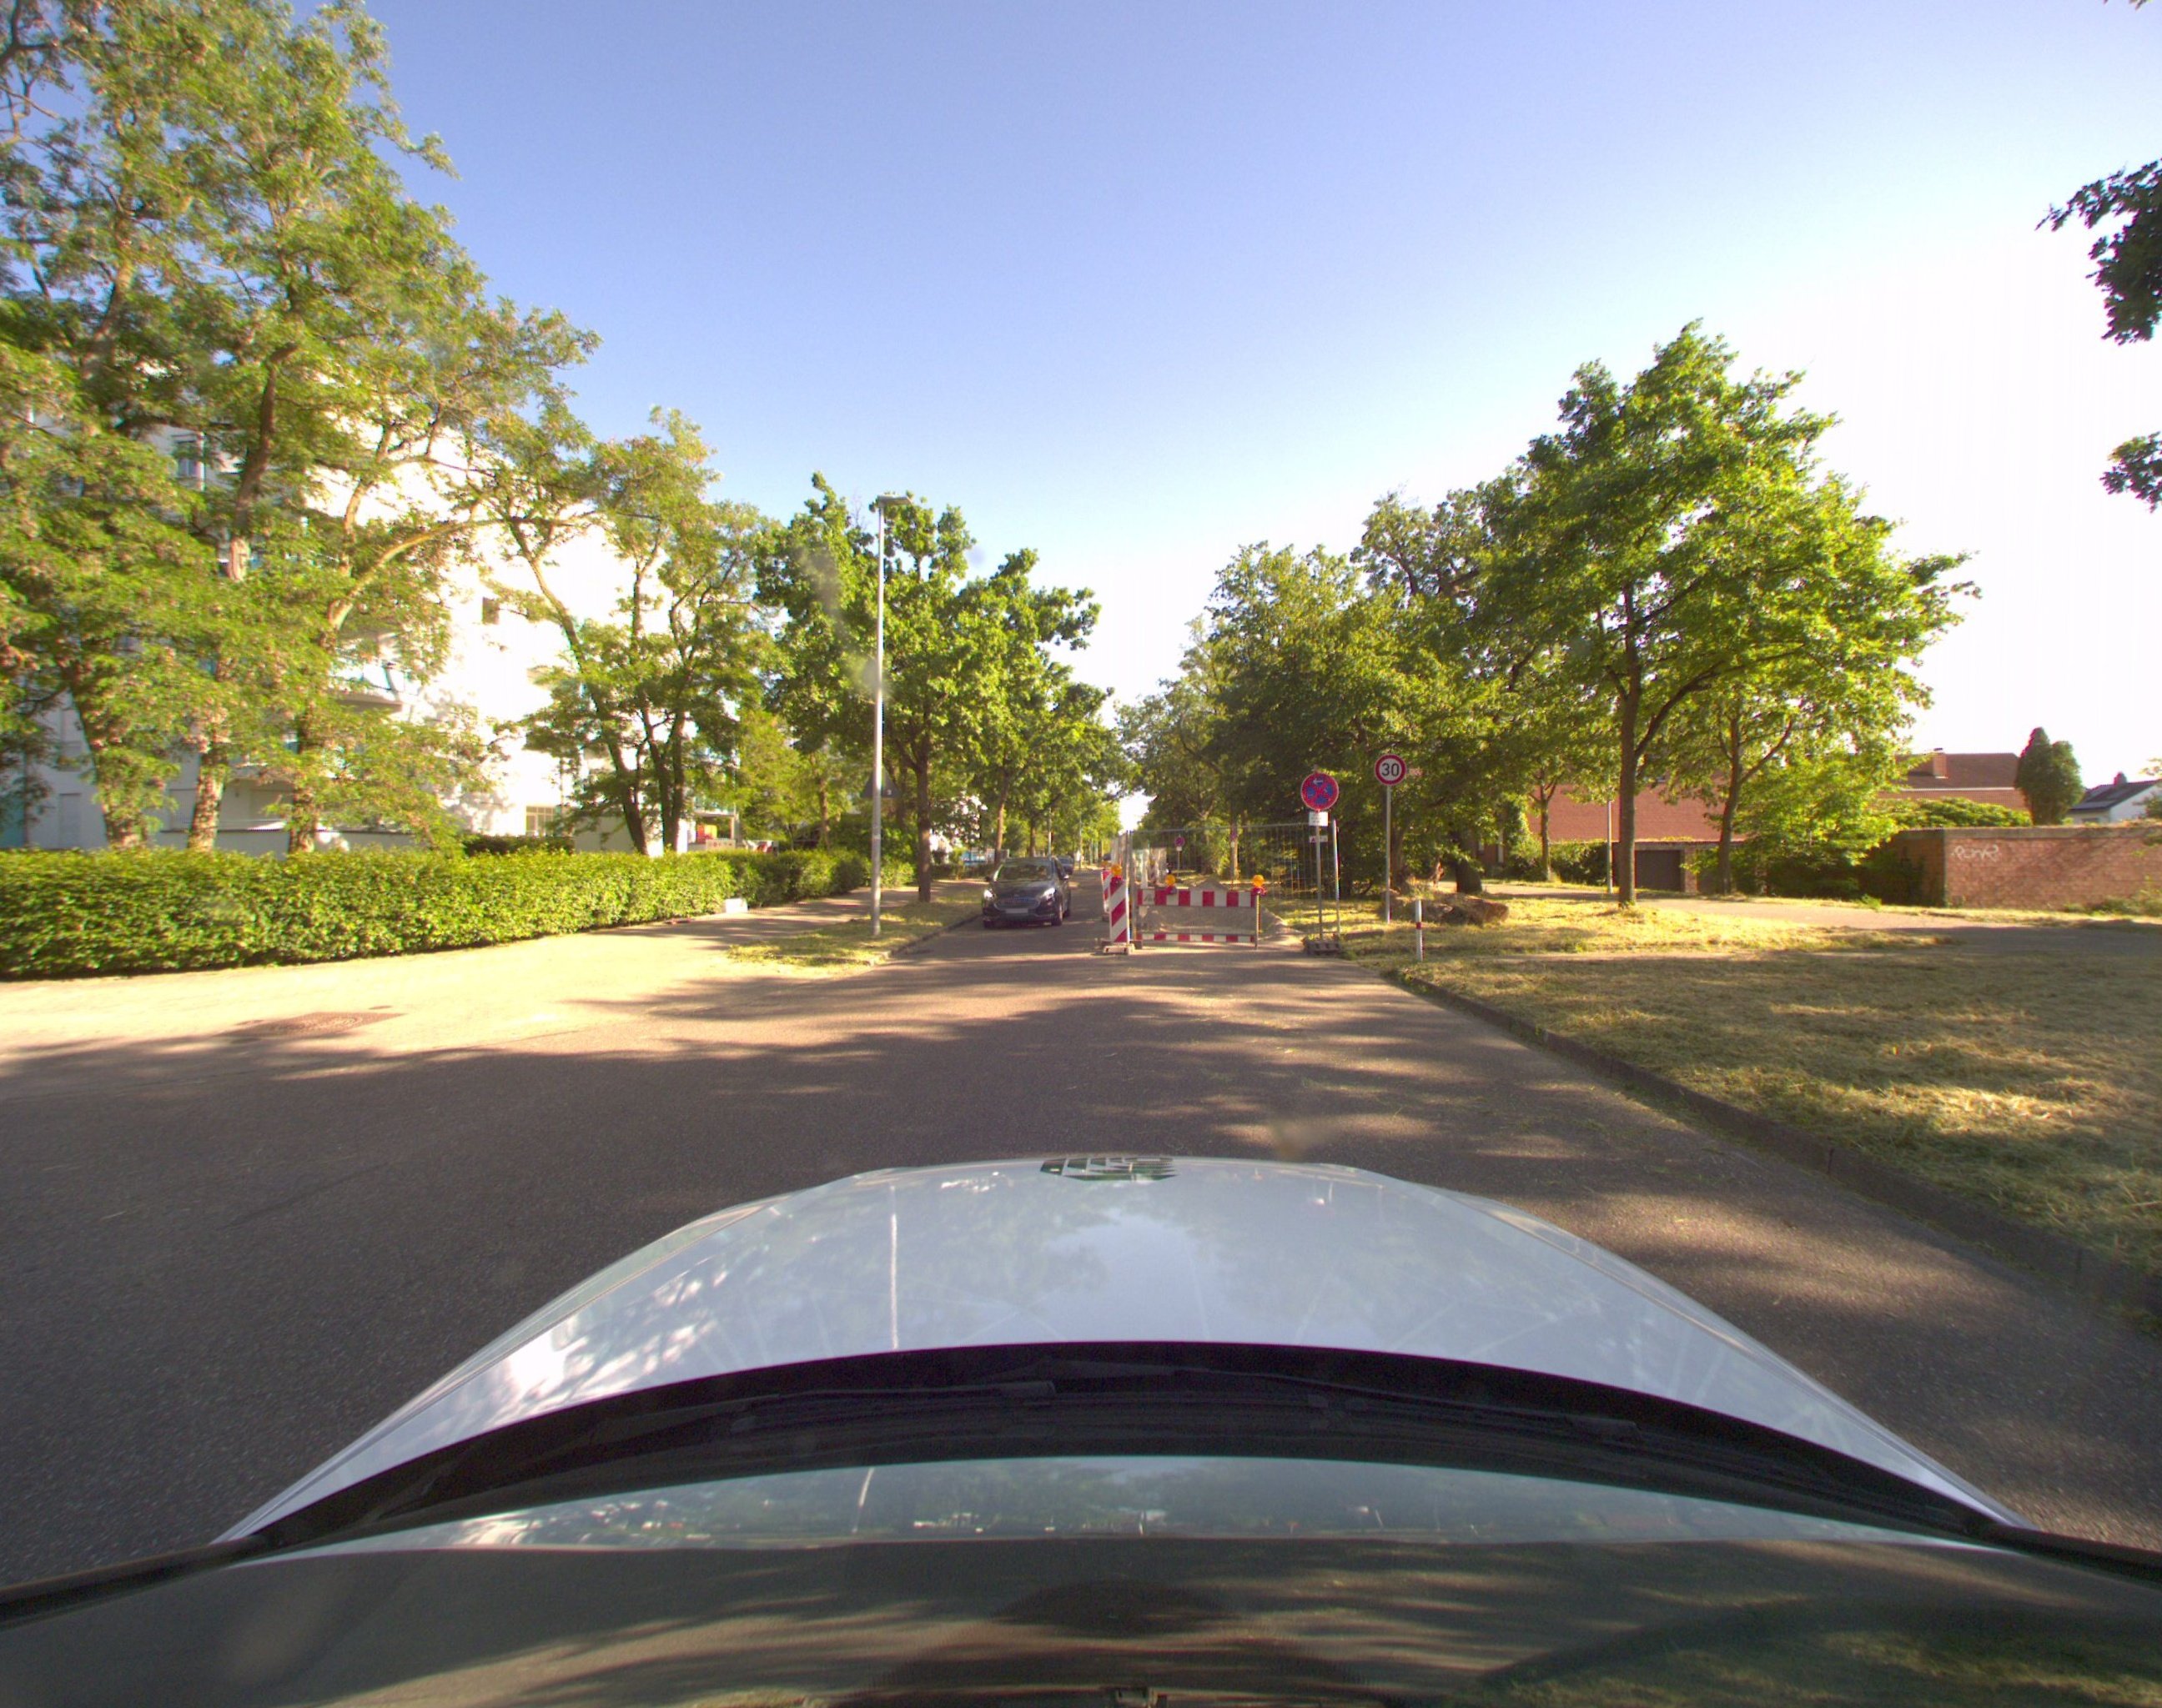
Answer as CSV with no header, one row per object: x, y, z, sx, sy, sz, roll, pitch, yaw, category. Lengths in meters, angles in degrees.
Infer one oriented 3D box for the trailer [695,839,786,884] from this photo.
-16.370,0.350,39.427,1.964,2.042,4.442,0,0,10,trailer

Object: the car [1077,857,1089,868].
0.260,1.121,103.426,1.356,1.302,3.481,1,-1,1,car

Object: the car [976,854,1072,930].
-1.303,0.860,20.527,1.814,1.625,4.496,-2,0,3,car

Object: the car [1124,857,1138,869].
5.543,0.996,90.641,1.356,1.302,3.481,1,-1,1,car

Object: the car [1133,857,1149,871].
5.711,0.934,77.647,1.356,1.302,3.481,1,-1,1,car

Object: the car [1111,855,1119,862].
7.805,0.991,189.097,1.705,1.585,3.998,1,-1,0,car
